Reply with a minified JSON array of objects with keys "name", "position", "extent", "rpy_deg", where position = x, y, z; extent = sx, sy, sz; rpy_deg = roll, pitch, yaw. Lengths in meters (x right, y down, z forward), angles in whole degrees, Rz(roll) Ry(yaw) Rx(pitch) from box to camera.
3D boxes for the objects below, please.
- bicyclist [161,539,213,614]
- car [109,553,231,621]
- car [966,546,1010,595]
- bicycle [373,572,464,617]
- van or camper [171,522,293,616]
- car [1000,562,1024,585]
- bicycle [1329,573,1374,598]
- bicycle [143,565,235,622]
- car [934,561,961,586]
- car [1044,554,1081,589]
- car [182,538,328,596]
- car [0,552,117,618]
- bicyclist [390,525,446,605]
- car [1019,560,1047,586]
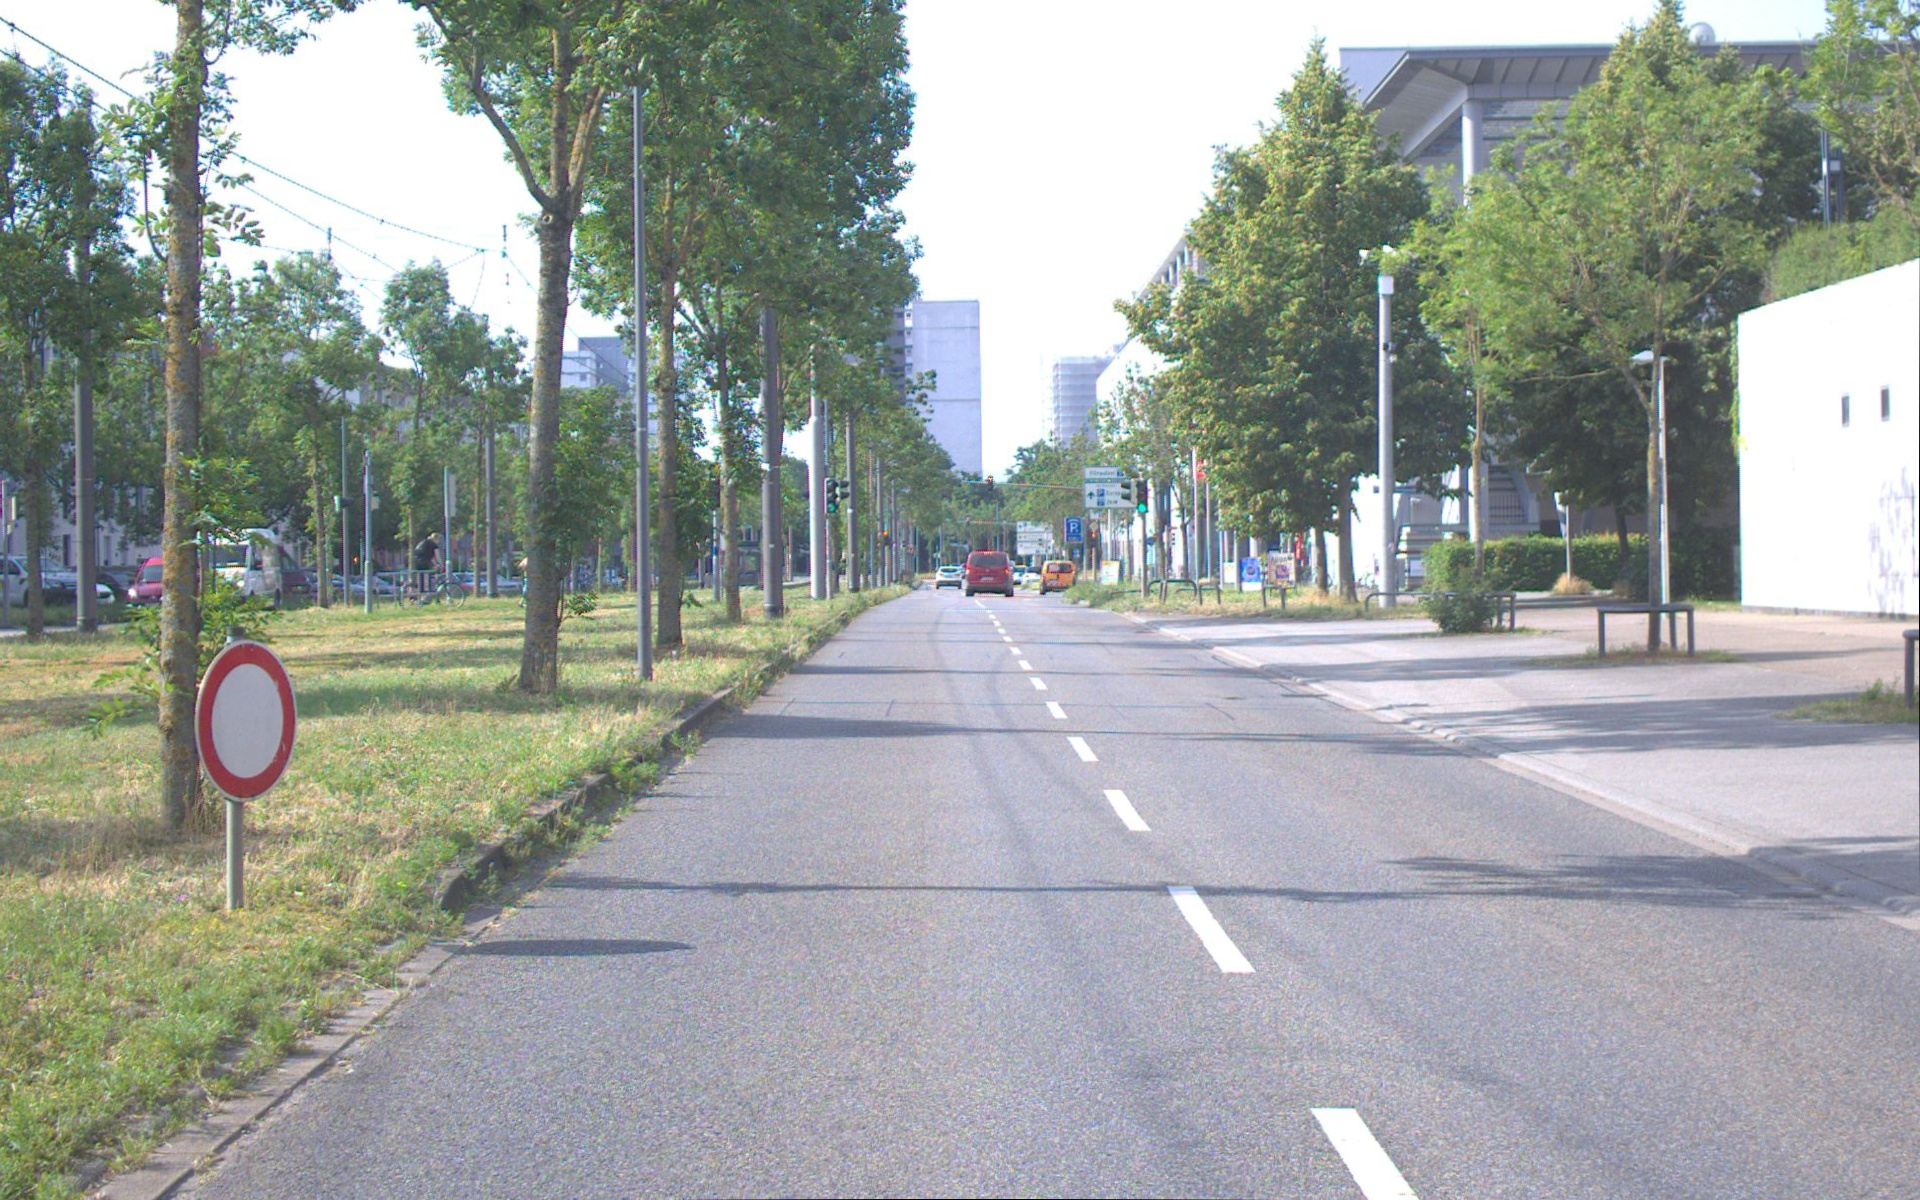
[{"name":"bicyclist","position":[-18.491,-0.570,82.206],"extent":[1.146,1.756,0.686],"rpy_deg":[2,0,-15]},{"name":"car","position":[-20.848,-0.352,90.907],"extent":[1.965,1.688,4.296],"rpy_deg":[2,0,4]},{"name":"car","position":[1.190,-1.223,143.877],"extent":[1.748,2.007,3.215],"rpy_deg":[2,0,1]},{"name":"bicycle","position":[-13.251,-0.131,84.160],"extent":[2.066,1.039,0.668],"rpy_deg":[1,0,-23]},{"name":"van or camper","position":[-20.661,-0.873,97.850],"extent":[2.203,2.522,6.030],"rpy_deg":[2,0,-1]},{"name":"car","position":[3.790,-1.922,251.175],"extent":[1.748,1.645,3.215],"rpy_deg":[2,0,1]},{"name":"bicycle","position":[14.985,-0.550,131.559],"extent":[1.621,0.885,0.551],"rpy_deg":[2,0,-1]},{"name":"bicycle","position":[-18.441,-0.154,82.247],"extent":[2.065,1.319,0.784],"rpy_deg":[2,0,-16]},{"name":"car","position":[-0.874,-1.857,240.096],"extent":[1.748,1.645,3.215],"rpy_deg":[2,0,1]},{"name":"car","position":[5.087,-1.413,170.558],"extent":[1.748,1.645,3.215],"rpy_deg":[2,0,1]},{"name":"car","position":[-26.314,-1.247,128.252],"extent":[5.225,2.007,1.874],"rpy_deg":[2,0,26]},{"name":"car","position":[-26.268,-0.453,96.436],"extent":[5.320,1.732,1.996],"rpy_deg":[2,0,34]},{"name":"bicyclist","position":[-13.269,-0.856,84.167],"extent":[1.146,1.927,0.686],"rpy_deg":[2,0,-24]},{"name":"car","position":[4.767,-1.740,224.686],"extent":[1.748,1.645,3.215],"rpy_deg":[2,0,1]}]
